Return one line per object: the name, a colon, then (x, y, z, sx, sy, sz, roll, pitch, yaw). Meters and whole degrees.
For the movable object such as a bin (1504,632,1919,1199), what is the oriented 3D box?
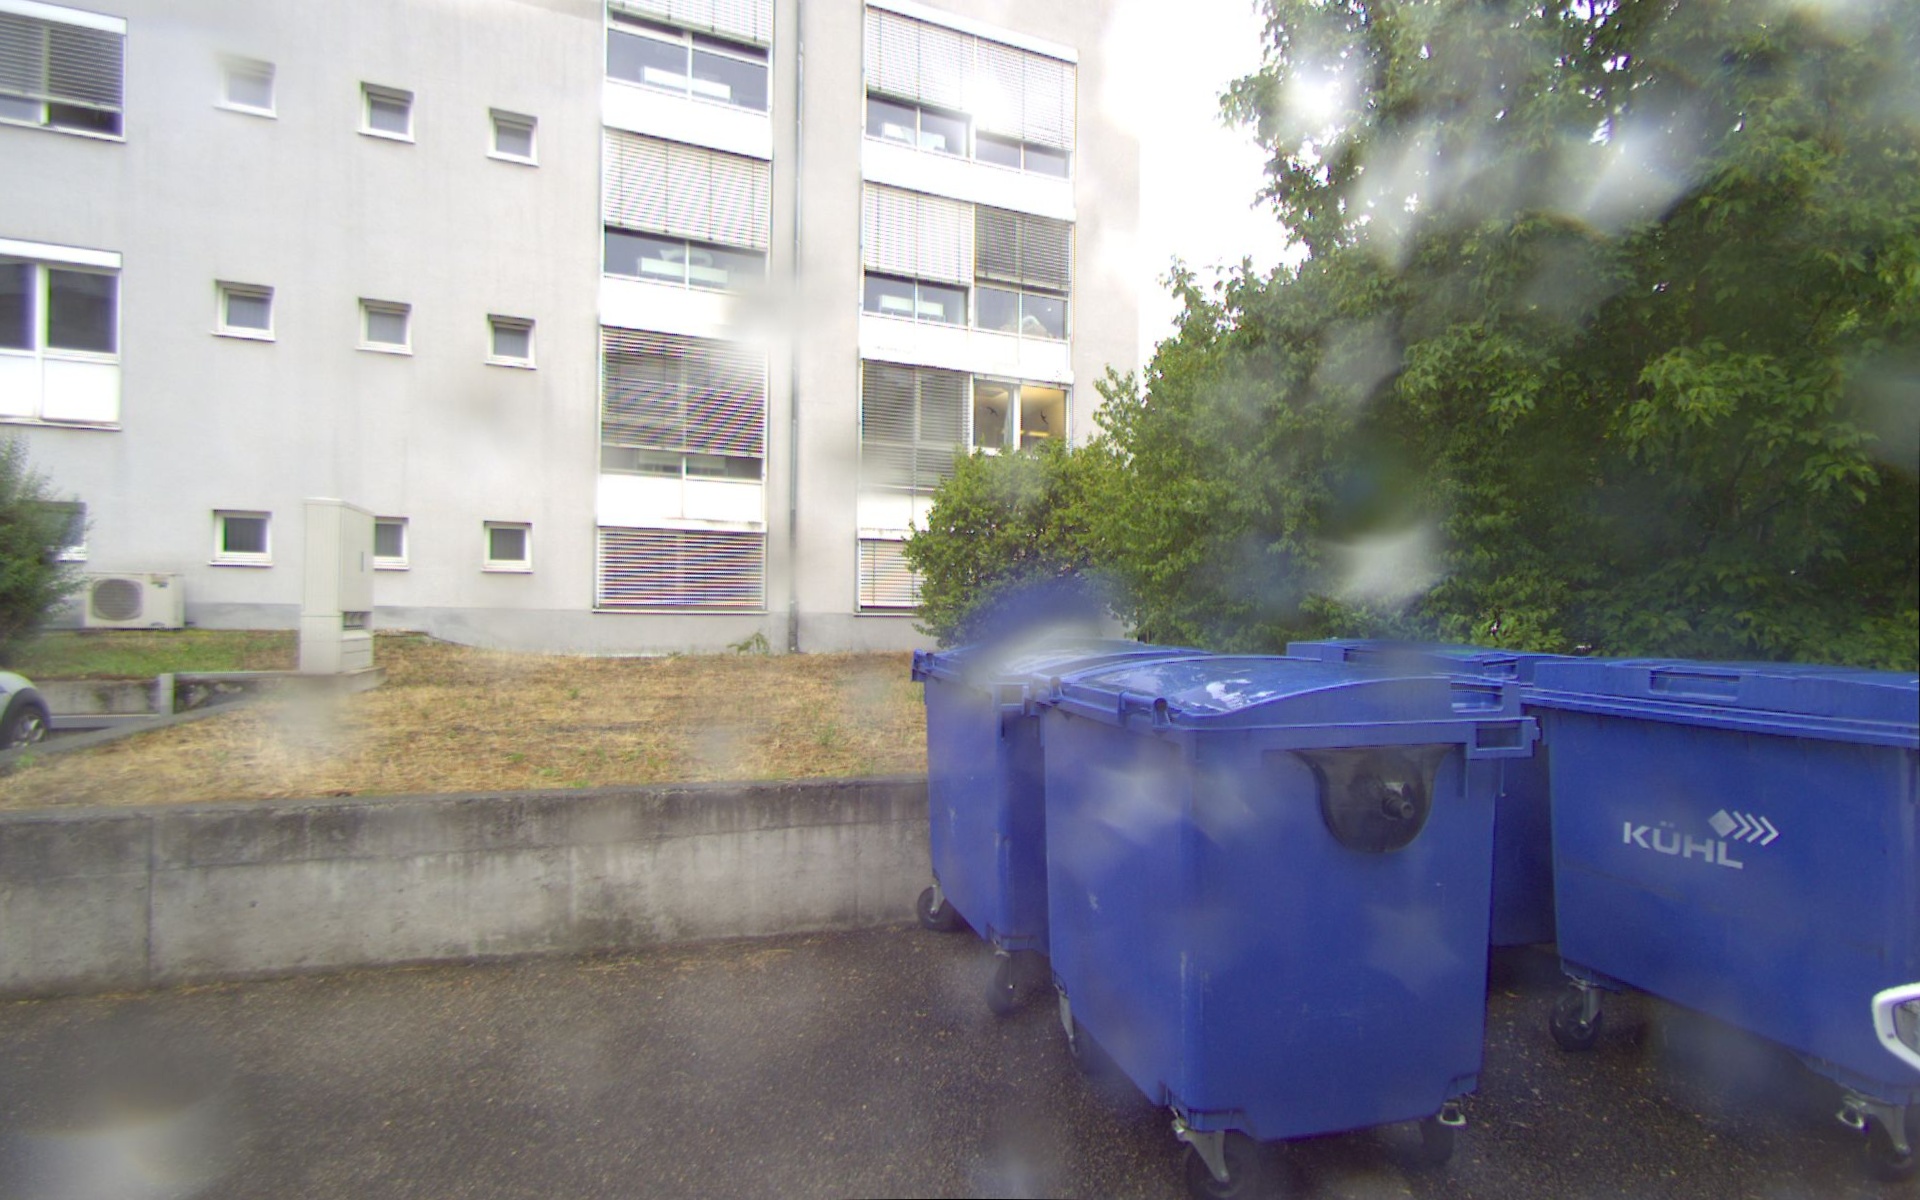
movable object such as a bin: (2.559, 0.787, 3.094, 0.990, 1.355, 1.221, 0, -1, -17)

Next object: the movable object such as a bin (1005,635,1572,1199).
movable object such as a bin: (0.827, 0.798, 2.918, 1.097, 1.355, 1.204, 1, -1, -13)

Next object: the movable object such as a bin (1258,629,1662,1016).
movable object such as a bin: (2.064, 0.817, 4.327, 0.990, 1.355, 1.221, 0, 0, -17)

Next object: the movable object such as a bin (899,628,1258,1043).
movable object such as a bin: (0.423, 0.830, 4.178, 1.098, 1.355, 1.202, -1, 1, -17)

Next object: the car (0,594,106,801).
car: (-7.130, 0.692, 5.980, 1.795, 1.351, 4.158, 0, 2, -21)
